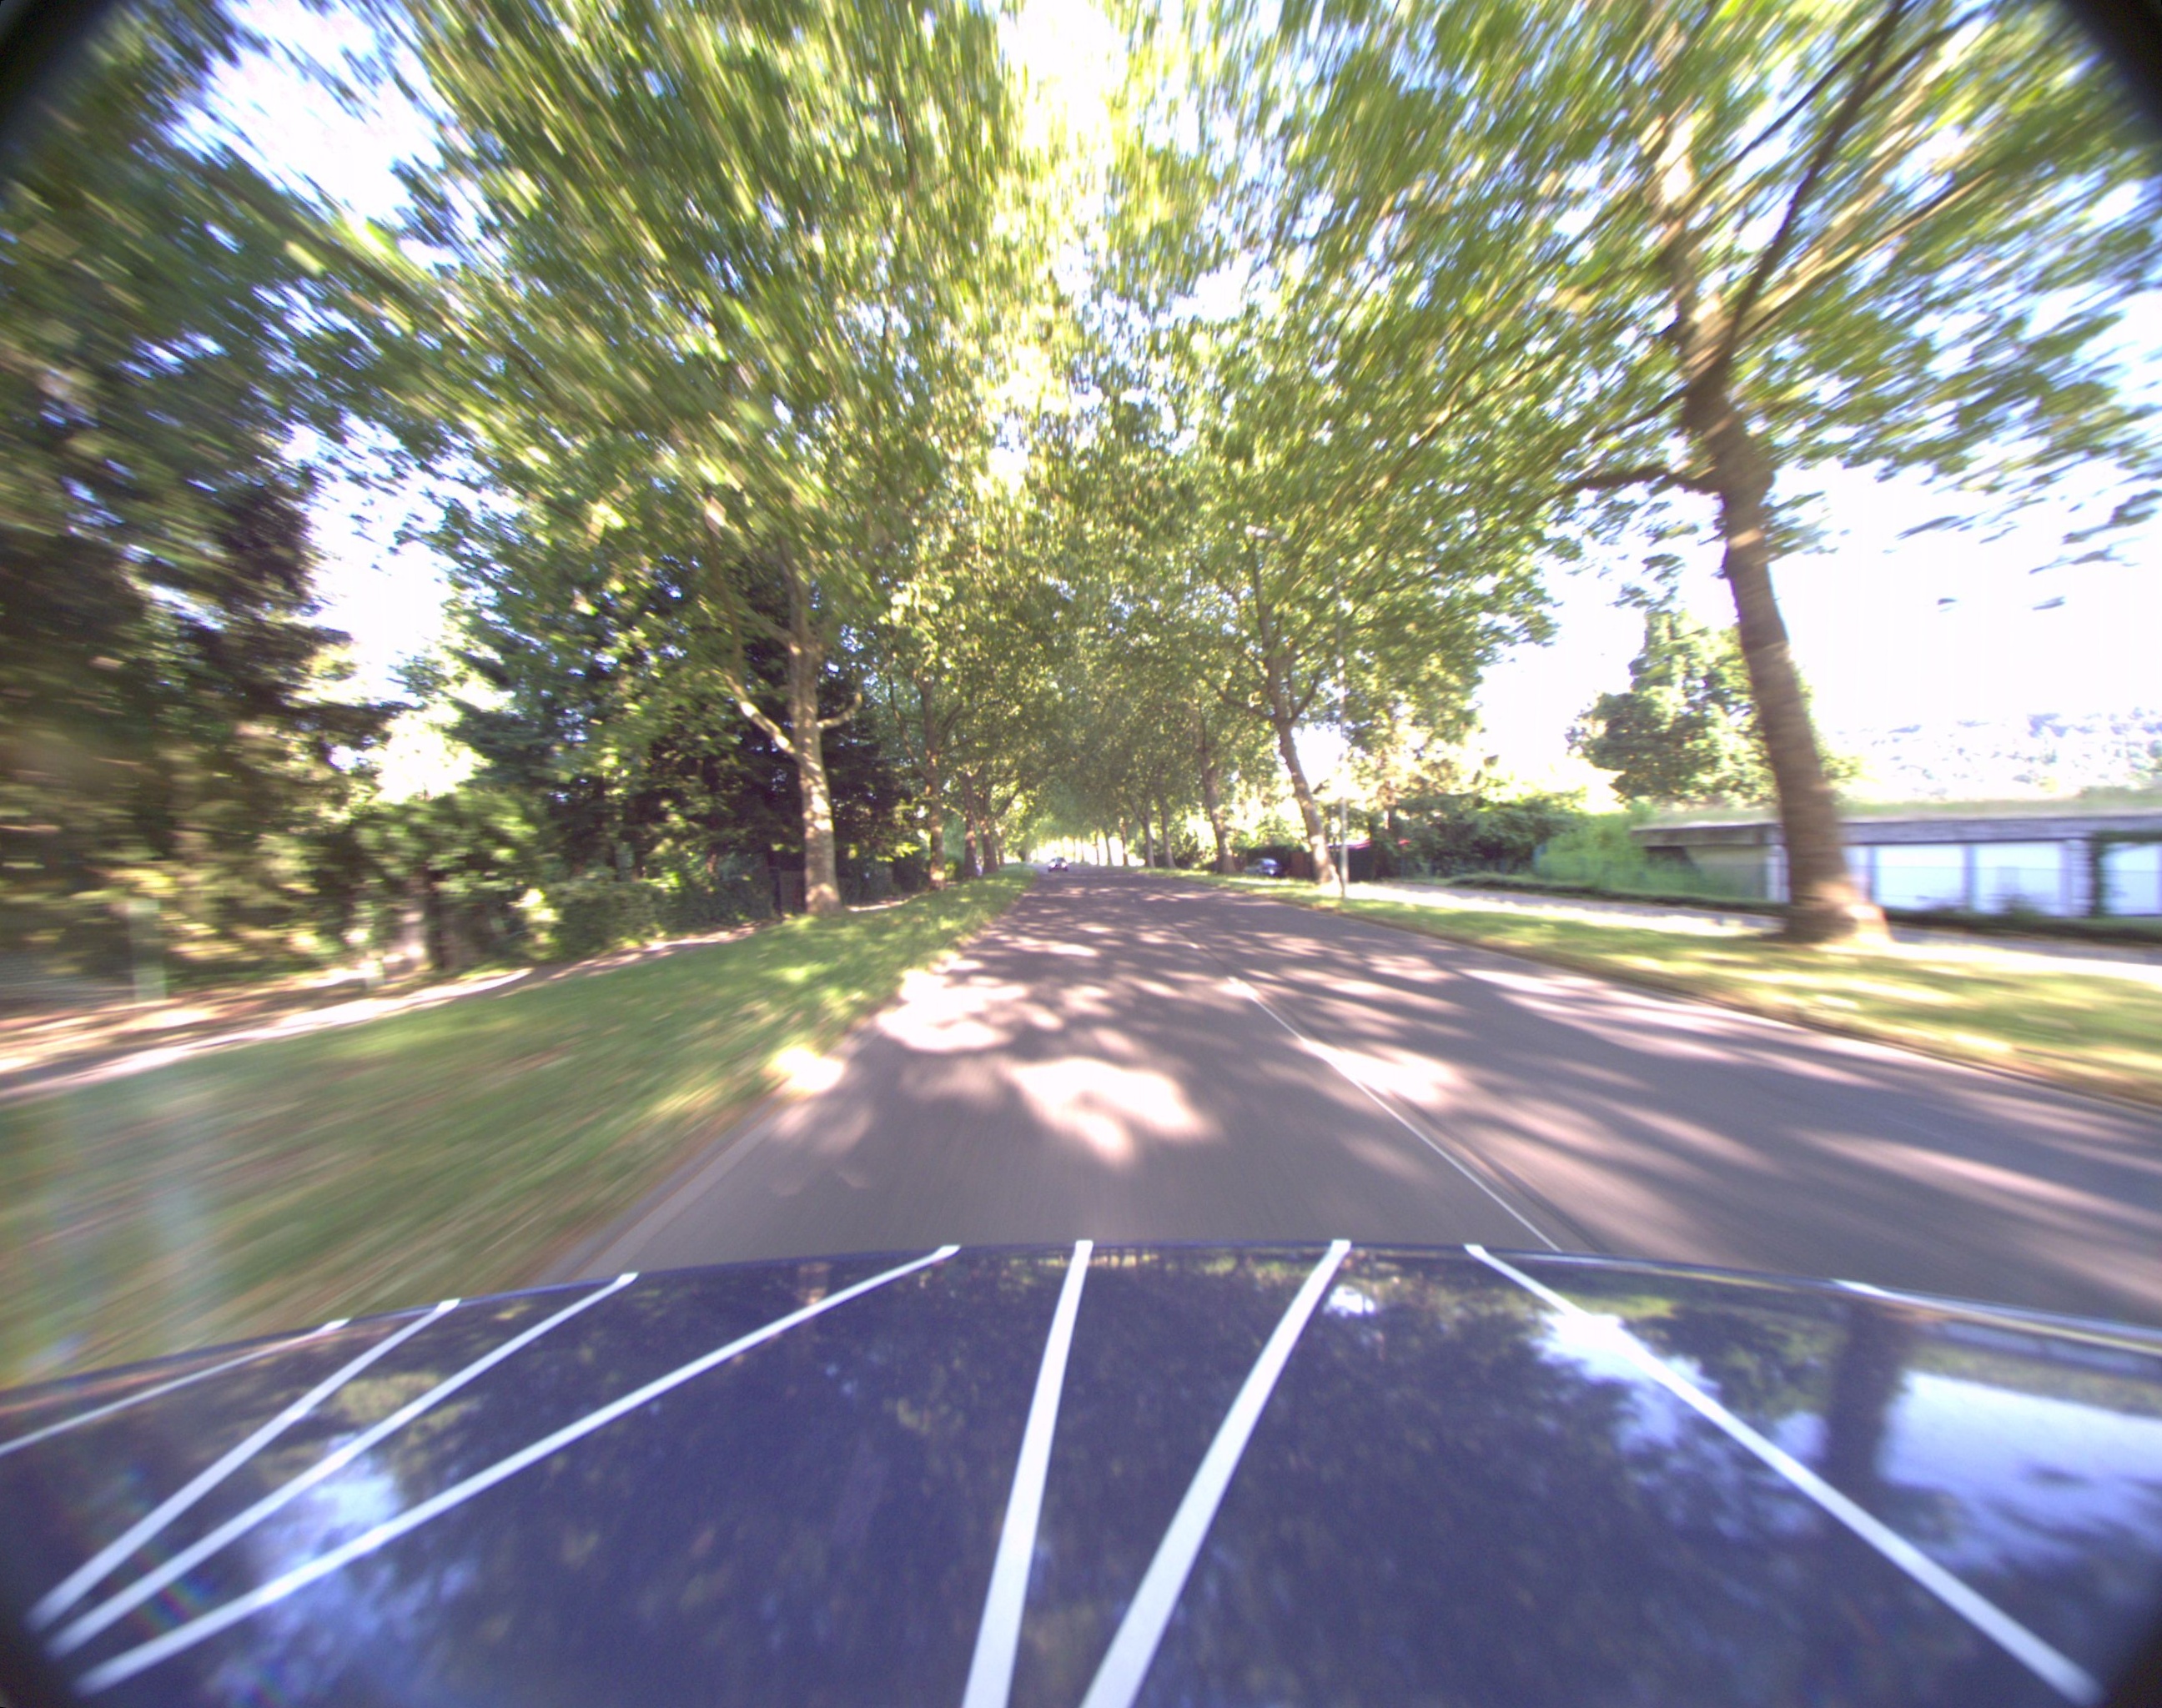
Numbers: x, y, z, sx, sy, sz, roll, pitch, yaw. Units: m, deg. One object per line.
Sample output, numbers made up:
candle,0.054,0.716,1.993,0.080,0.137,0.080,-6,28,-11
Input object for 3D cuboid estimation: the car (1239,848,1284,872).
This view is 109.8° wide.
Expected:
car,12.149,0.392,51.280,1.814,1.521,3.998,-1,0,-4
